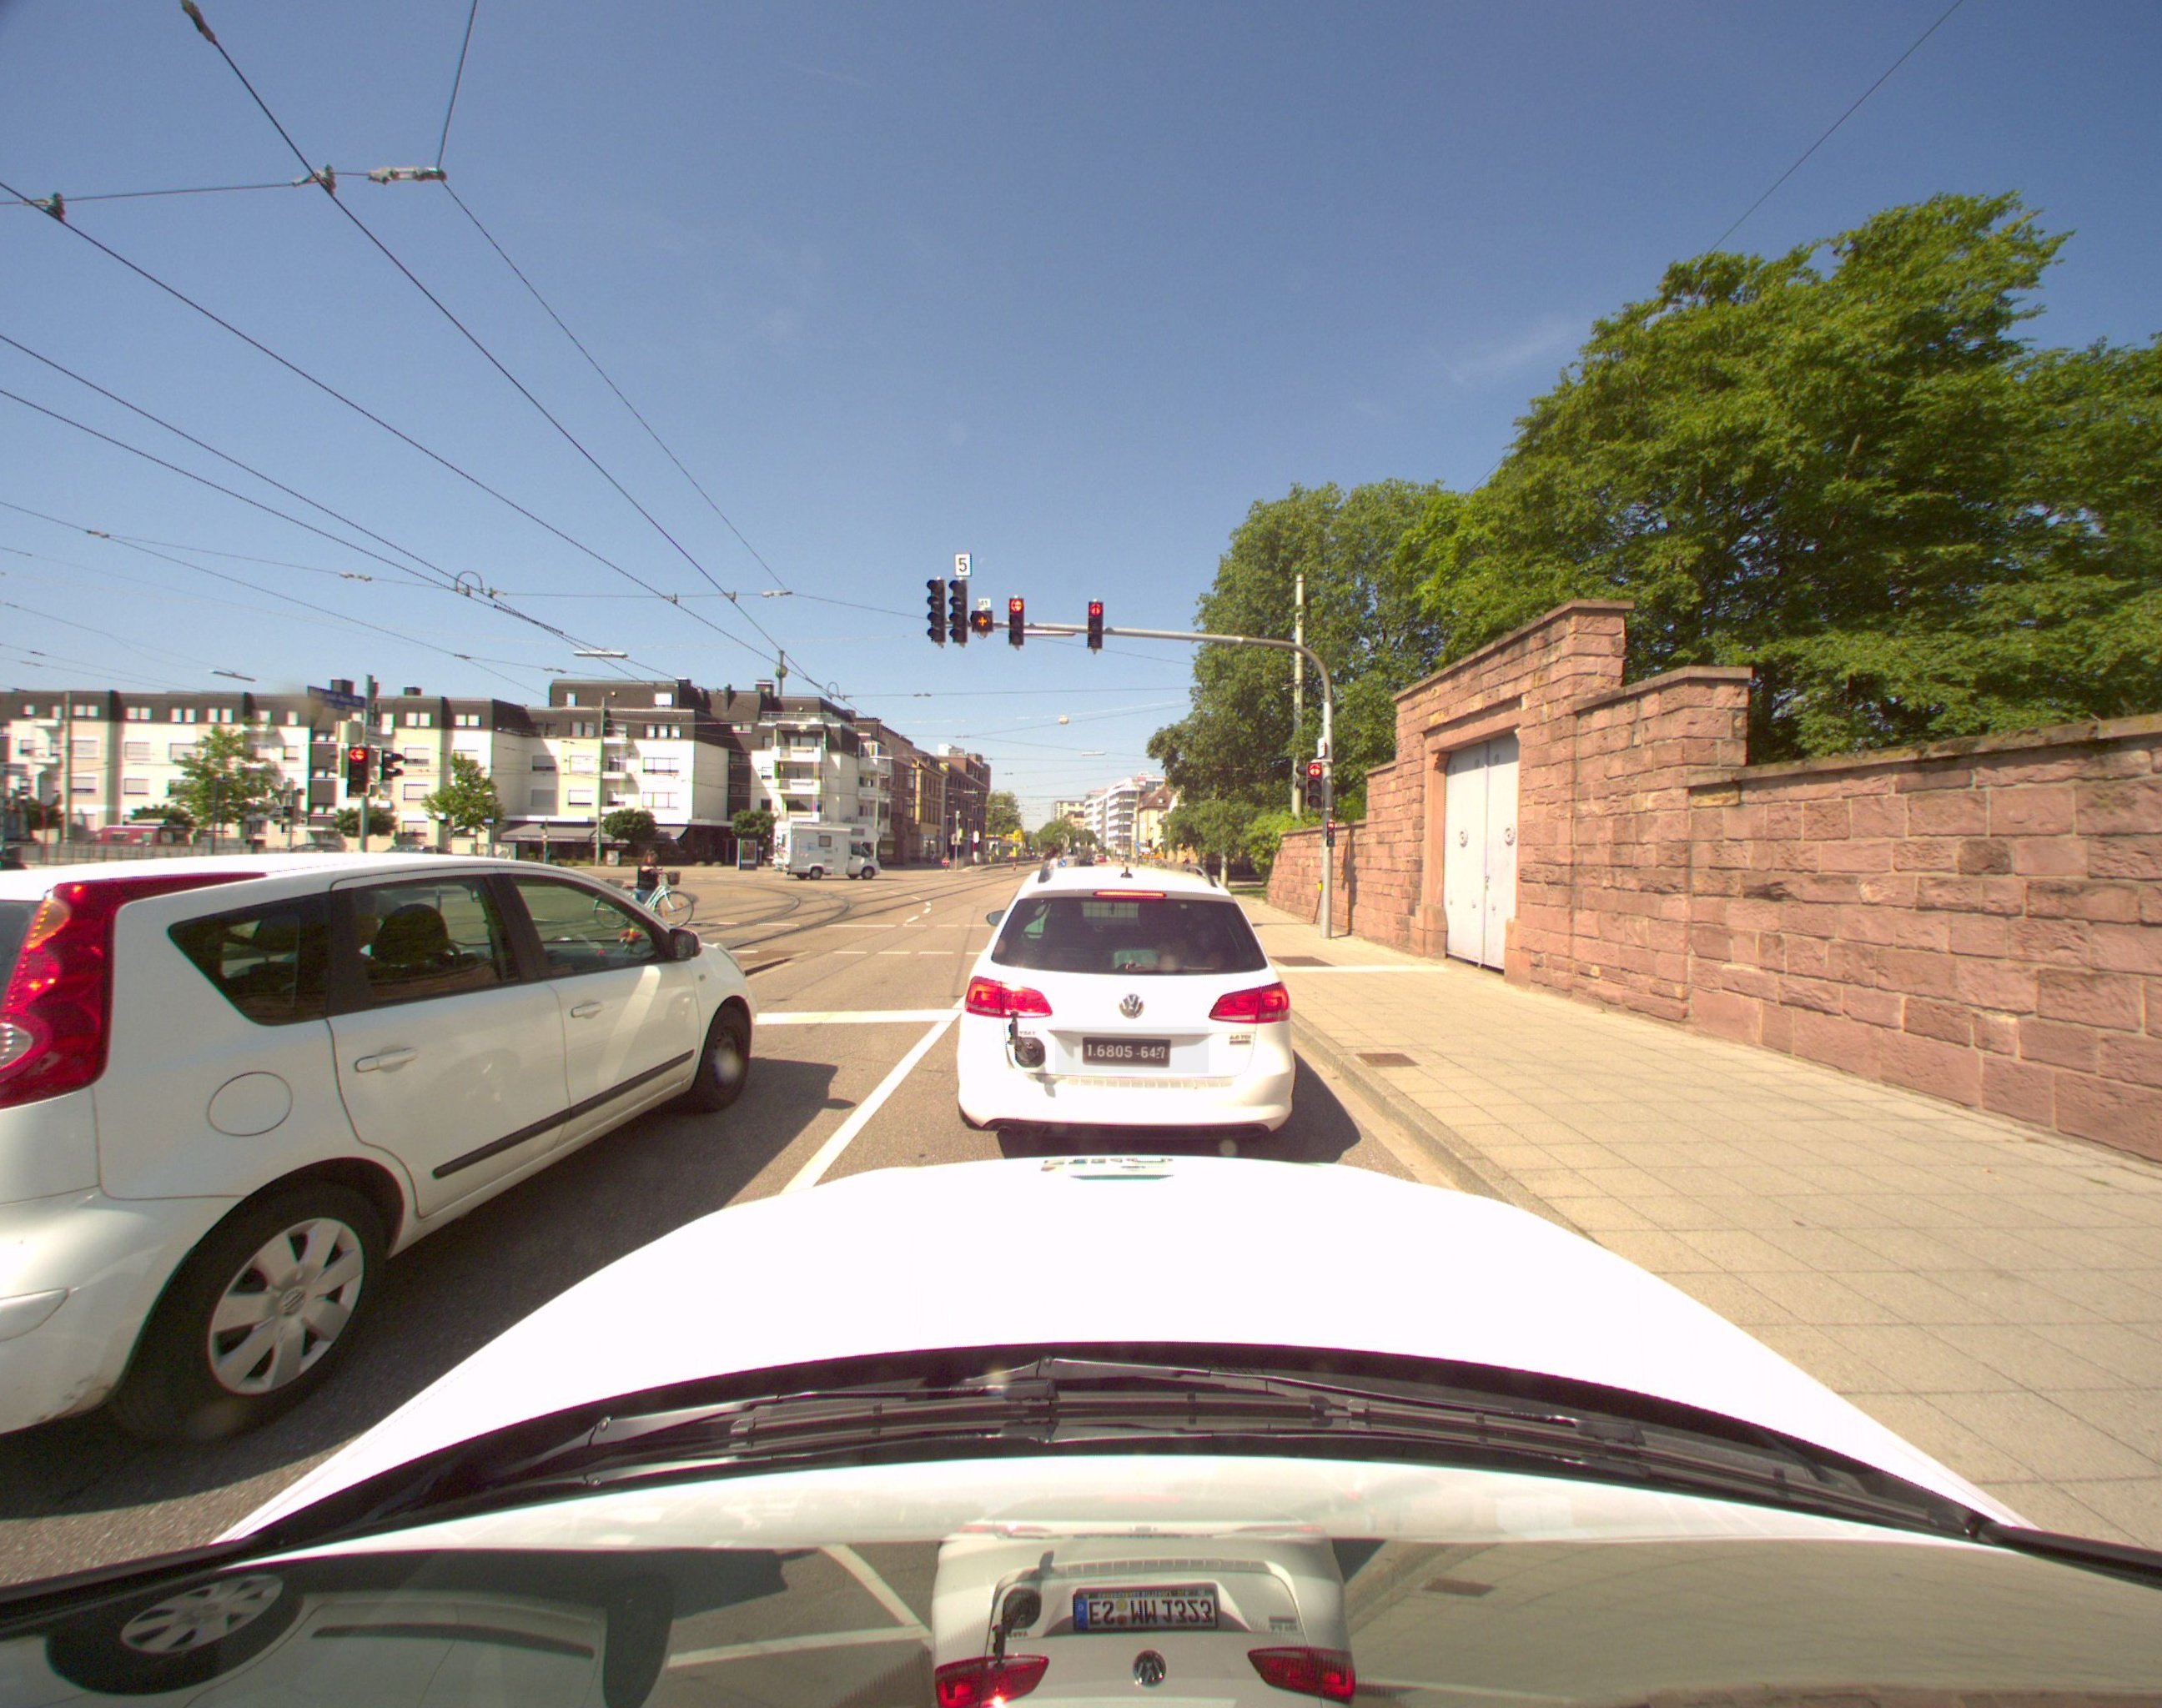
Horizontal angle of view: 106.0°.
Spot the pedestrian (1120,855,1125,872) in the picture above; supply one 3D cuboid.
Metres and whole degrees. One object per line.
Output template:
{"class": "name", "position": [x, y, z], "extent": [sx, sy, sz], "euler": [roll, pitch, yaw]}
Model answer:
{"class": "pedestrian", "position": [5.960, 1.356, 117.055], "extent": [0.687, 2.325, 1.233], "euler": [-1, -1, 3]}

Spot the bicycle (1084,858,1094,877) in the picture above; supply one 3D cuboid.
{"class": "bicycle", "position": [0.573, 0.985, 58.406], "extent": [0.557, 1.297, 2.247], "euler": [-1, -1, -2]}

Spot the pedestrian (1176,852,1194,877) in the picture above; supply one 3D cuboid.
{"class": "pedestrian", "position": [7.364, 0.770, 57.651], "extent": [0.868, 1.743, 0.964], "euler": [0, -2, -37]}

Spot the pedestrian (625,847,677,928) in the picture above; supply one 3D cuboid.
{"class": "pedestrian", "position": [-8.565, 0.646, 16.246], "extent": [0.746, 1.571, 0.672], "euler": [-1, 1, -13]}

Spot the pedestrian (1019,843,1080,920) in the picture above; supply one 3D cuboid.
{"class": "pedestrian", "position": [-0.704, 0.610, 18.238], "extent": [0.980, 1.651, 0.944], "euler": [0, -2, -44]}

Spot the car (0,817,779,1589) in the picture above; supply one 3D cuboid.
{"class": "car", "position": [-2.904, 0.694, 3.559], "extent": [1.636, 1.566, 3.805], "euler": [-1, 1, 1]}

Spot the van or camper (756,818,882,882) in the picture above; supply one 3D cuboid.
{"class": "van or camper", "position": [-13.604, -0.159, 42.455], "extent": [5.731, 3.093, 2.545], "euler": [0, -2, -39]}

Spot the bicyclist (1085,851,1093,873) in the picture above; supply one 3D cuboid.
{"class": "bicyclist", "position": [0.568, 0.581, 58.412], "extent": [0.559, 1.613, 0.637], "euler": [-1, -1, -2]}

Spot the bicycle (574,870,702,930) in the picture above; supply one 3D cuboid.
{"class": "bicycle", "position": [-8.502, 0.868, 15.709], "extent": [2.021, 1.090, 0.707], "euler": [1, 0, -13]}

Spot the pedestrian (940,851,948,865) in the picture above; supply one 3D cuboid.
{"class": "pedestrian", "position": [-17.215, 0.477, 102.533], "extent": [0.860, 1.743, 0.973], "euler": [-1, -1, -4]}

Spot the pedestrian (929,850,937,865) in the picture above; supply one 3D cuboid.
{"class": "pedestrian", "position": [-17.526, 0.371, 96.509], "extent": [0.860, 1.743, 0.973], "euler": [-1, -1, -4]}

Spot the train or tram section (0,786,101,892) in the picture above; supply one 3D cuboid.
{"class": "train or tram section", "position": [-60.982, -0.578, 41.512], "extent": [16.149, 5.150, 4.735], "euler": [-1, -1, 0]}

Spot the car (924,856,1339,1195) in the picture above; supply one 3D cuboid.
{"class": "car", "position": [0.276, 0.750, 5.550], "extent": [1.801, 1.448, 4.001], "euler": [0, 0, 1]}

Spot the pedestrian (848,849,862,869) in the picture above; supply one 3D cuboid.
{"class": "pedestrian", "position": [-20.177, 0.418, 72.643], "extent": [0.978, 1.743, 0.856], "euler": [0, -2, -30]}
